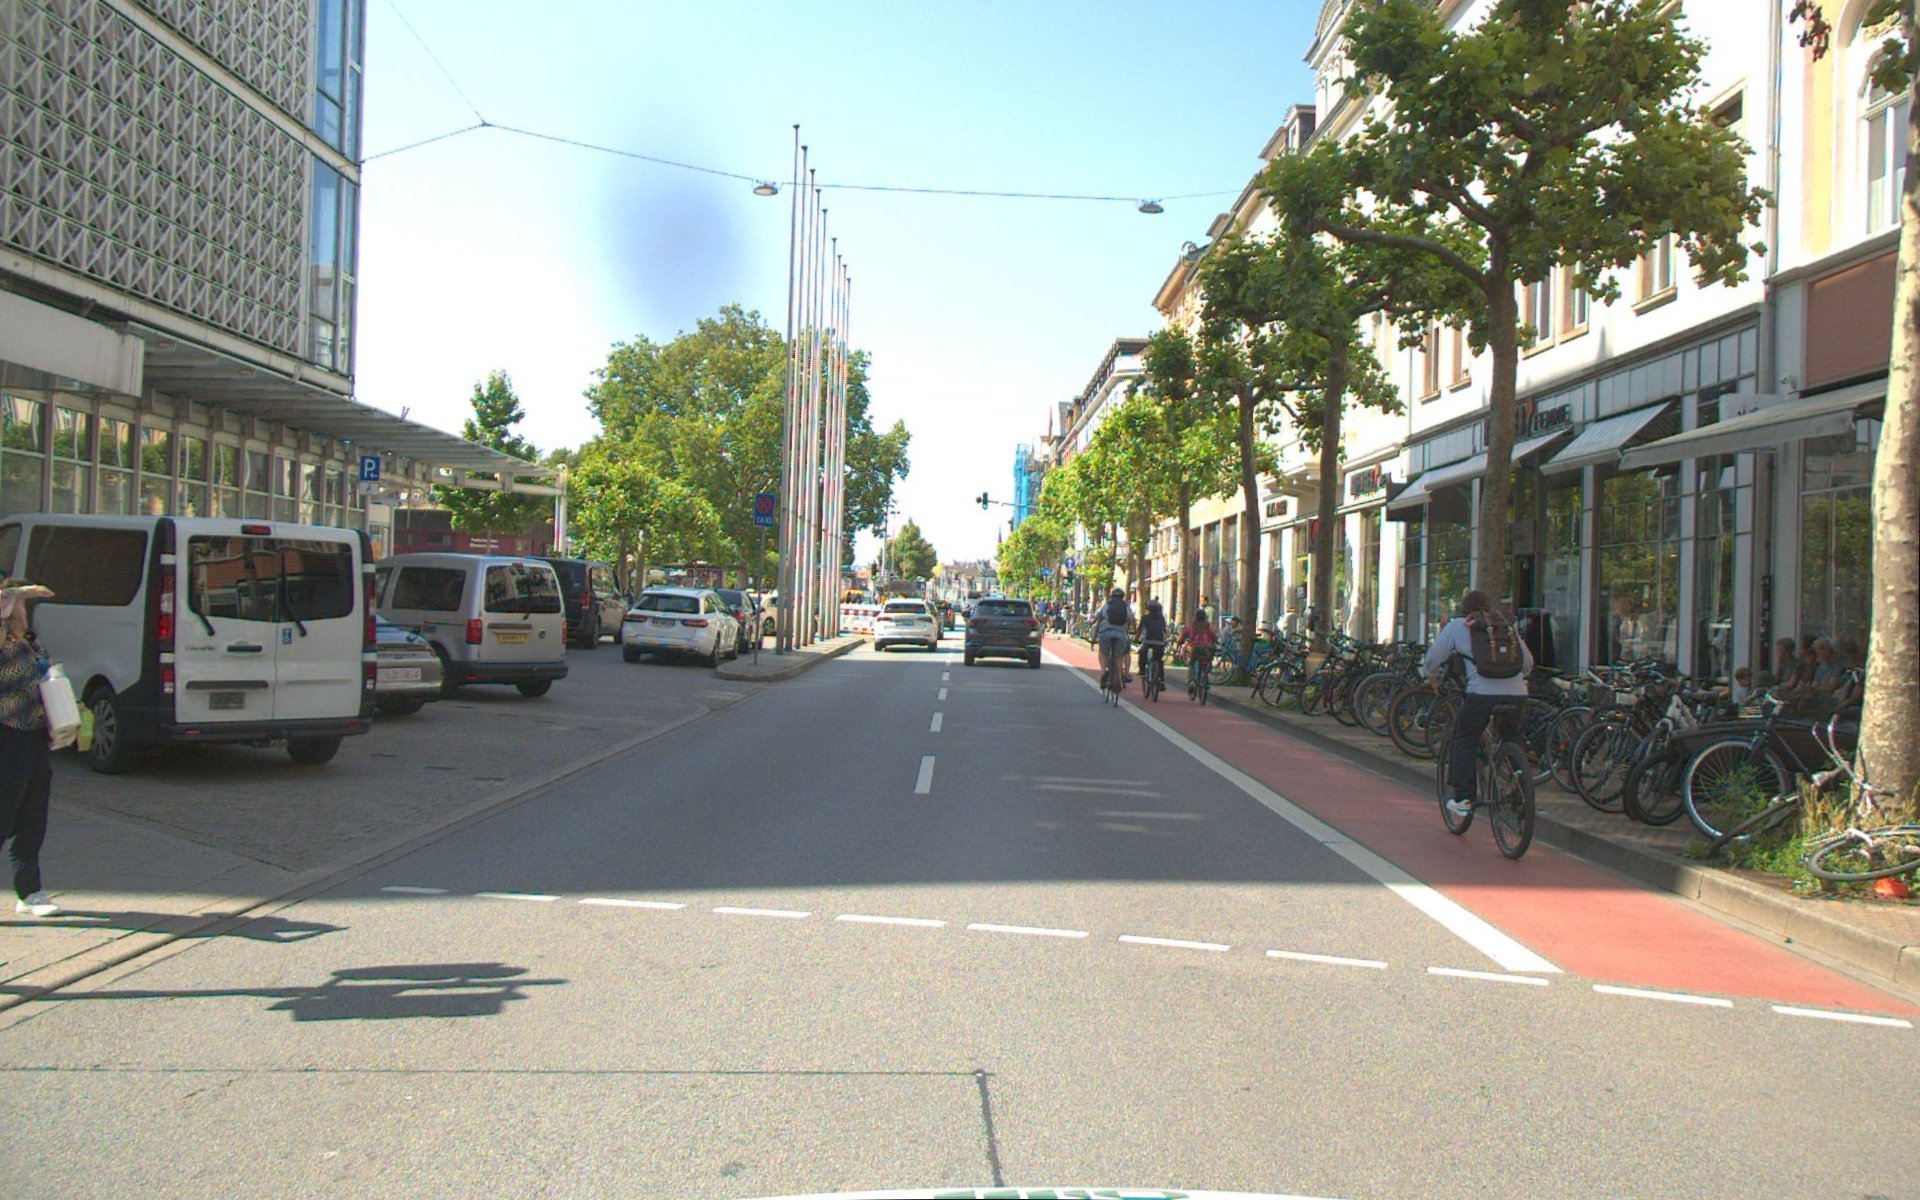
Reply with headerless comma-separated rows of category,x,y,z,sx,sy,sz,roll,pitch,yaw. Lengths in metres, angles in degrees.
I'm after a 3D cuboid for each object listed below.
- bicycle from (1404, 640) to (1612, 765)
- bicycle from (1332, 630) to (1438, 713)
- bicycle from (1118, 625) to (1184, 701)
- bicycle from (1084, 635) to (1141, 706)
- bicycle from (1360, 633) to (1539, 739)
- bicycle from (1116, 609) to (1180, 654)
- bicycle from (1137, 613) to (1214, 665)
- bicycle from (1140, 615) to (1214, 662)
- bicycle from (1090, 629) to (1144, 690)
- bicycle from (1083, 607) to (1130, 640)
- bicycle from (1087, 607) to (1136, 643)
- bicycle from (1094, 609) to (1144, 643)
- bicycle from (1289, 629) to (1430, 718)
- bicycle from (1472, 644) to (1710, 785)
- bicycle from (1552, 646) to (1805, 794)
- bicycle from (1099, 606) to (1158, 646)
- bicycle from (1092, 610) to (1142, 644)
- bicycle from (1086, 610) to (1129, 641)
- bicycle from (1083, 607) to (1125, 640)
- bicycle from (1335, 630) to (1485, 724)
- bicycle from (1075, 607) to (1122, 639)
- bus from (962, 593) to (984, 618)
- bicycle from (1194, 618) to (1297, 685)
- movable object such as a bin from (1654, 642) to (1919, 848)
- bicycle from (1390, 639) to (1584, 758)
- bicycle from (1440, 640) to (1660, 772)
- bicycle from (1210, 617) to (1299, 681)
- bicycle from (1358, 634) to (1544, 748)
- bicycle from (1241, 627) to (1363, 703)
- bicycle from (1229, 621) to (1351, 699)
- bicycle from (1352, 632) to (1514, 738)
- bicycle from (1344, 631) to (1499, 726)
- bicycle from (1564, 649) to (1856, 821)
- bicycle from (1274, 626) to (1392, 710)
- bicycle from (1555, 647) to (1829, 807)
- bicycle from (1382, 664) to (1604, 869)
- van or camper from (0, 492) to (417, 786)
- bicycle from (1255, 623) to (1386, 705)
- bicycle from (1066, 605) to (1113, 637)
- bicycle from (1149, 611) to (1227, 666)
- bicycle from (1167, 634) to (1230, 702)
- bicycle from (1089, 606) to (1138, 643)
bicycle,5.346,0.989,16.201,1.802,1.146,0.666,1,-1,2
bicycle,6.070,1.018,23.570,1.826,1.147,0.442,2,-2,-38
bicycle,3.121,1.013,27.250,0.684,1.146,2.080,3,0,-3
bicycle,2.311,1.051,25.233,0.617,0.997,2.088,2,-1,-1
bicycle,5.690,0.989,19.317,1.943,1.147,0.762,1,-1,13
bicycle,5.509,0.926,48.498,1.801,1.206,0.670,3,0,5
bicycle,5.300,0.955,40.734,1.801,1.146,0.498,3,-1,11
bicycle,5.550,0.978,42.390,1.801,1.116,0.794,2,0,5
bicycle,2.864,1.069,30.366,0.758,1.023,2.329,1,0,0
bicycle,5.789,0.919,65.486,1.805,1.222,0.474,2,0,2
bicycle,5.487,0.895,59.850,1.692,1.238,0.477,2,0,2
bicycle,5.563,0.914,57.931,1.692,1.128,0.402,2,0,2
bicycle,5.454,0.984,22.591,1.805,1.147,0.447,1,-2,28
bicycle,5.449,0.977,14.343,1.802,1.146,0.643,1,-1,2
bicycle,5.941,0.980,13.739,1.802,1.146,0.666,1,-1,2
bicycle,5.642,0.875,55.597,1.891,1.270,0.736,2,0,2
bicycle,5.572,0.961,58.764,1.692,1.128,0.477,2,0,2
bicycle,5.664,0.965,63.549,1.615,1.114,0.607,2,0,2
bicycle,5.663,0.912,65.072,1.615,1.222,0.474,2,0,2
bicycle,5.784,0.983,21.292,1.801,1.147,0.448,1,-1,2
bicycle,5.593,0.919,66.797,1.805,1.222,0.609,2,0,2
bus,1.931,0.868,246.436,2.934,3.657,11.742,2,-1,-1
bicycle,5.461,0.983,31.643,1.806,1.146,0.496,4,1,-8
movable object such as a bin,5.724,0.956,11.128,1.812,1.209,0.653,4,0,15
bicycle,5.370,0.994,16.894,1.802,1.147,0.530,1,-1,2
bicycle,5.469,0.971,15.390,1.802,1.146,0.666,1,-1,2
bicycle,5.932,0.985,33.309,1.754,1.218,0.572,3,-1,-28
bicycle,5.313,0.973,17.951,1.802,1.146,0.680,2,-1,2
bicycle,5.517,1.042,26.689,1.807,1.112,0.563,3,-1,-11
bicycle,5.421,0.977,27.188,1.807,1.146,0.631,4,-1,-11
bicycle,5.703,1.016,20.031,1.801,1.146,0.530,3,-1,12
bicycle,5.802,0.982,20.832,1.801,1.147,0.448,1,-1,2
bicycle,5.397,0.956,11.989,1.801,1.146,0.667,1,-1,7
bicycle,5.339,0.971,23.620,1.825,1.147,0.586,2,-2,-36
bicycle,5.622,0.965,12.768,1.802,1.146,0.666,1,-1,2
bicycle,3.542,1.062,11.202,0.684,1.146,2.080,3,0,-3
van or camper,-6.766,0.196,13.902,4.574,2.048,1.990,4,1,40
bicycle,5.654,1.001,25.948,1.808,1.146,0.763,4,-2,-13
bicycle,5.573,0.901,71.211,1.903,1.279,0.701,2,0,-20
bicycle,5.462,0.916,39.669,1.801,1.218,0.674,2,0,7
bicycle,3.897,1.097,27.157,0.588,0.942,2.086,3,1,-3
bicycle,5.493,0.883,59.125,1.692,1.238,0.477,2,0,2
